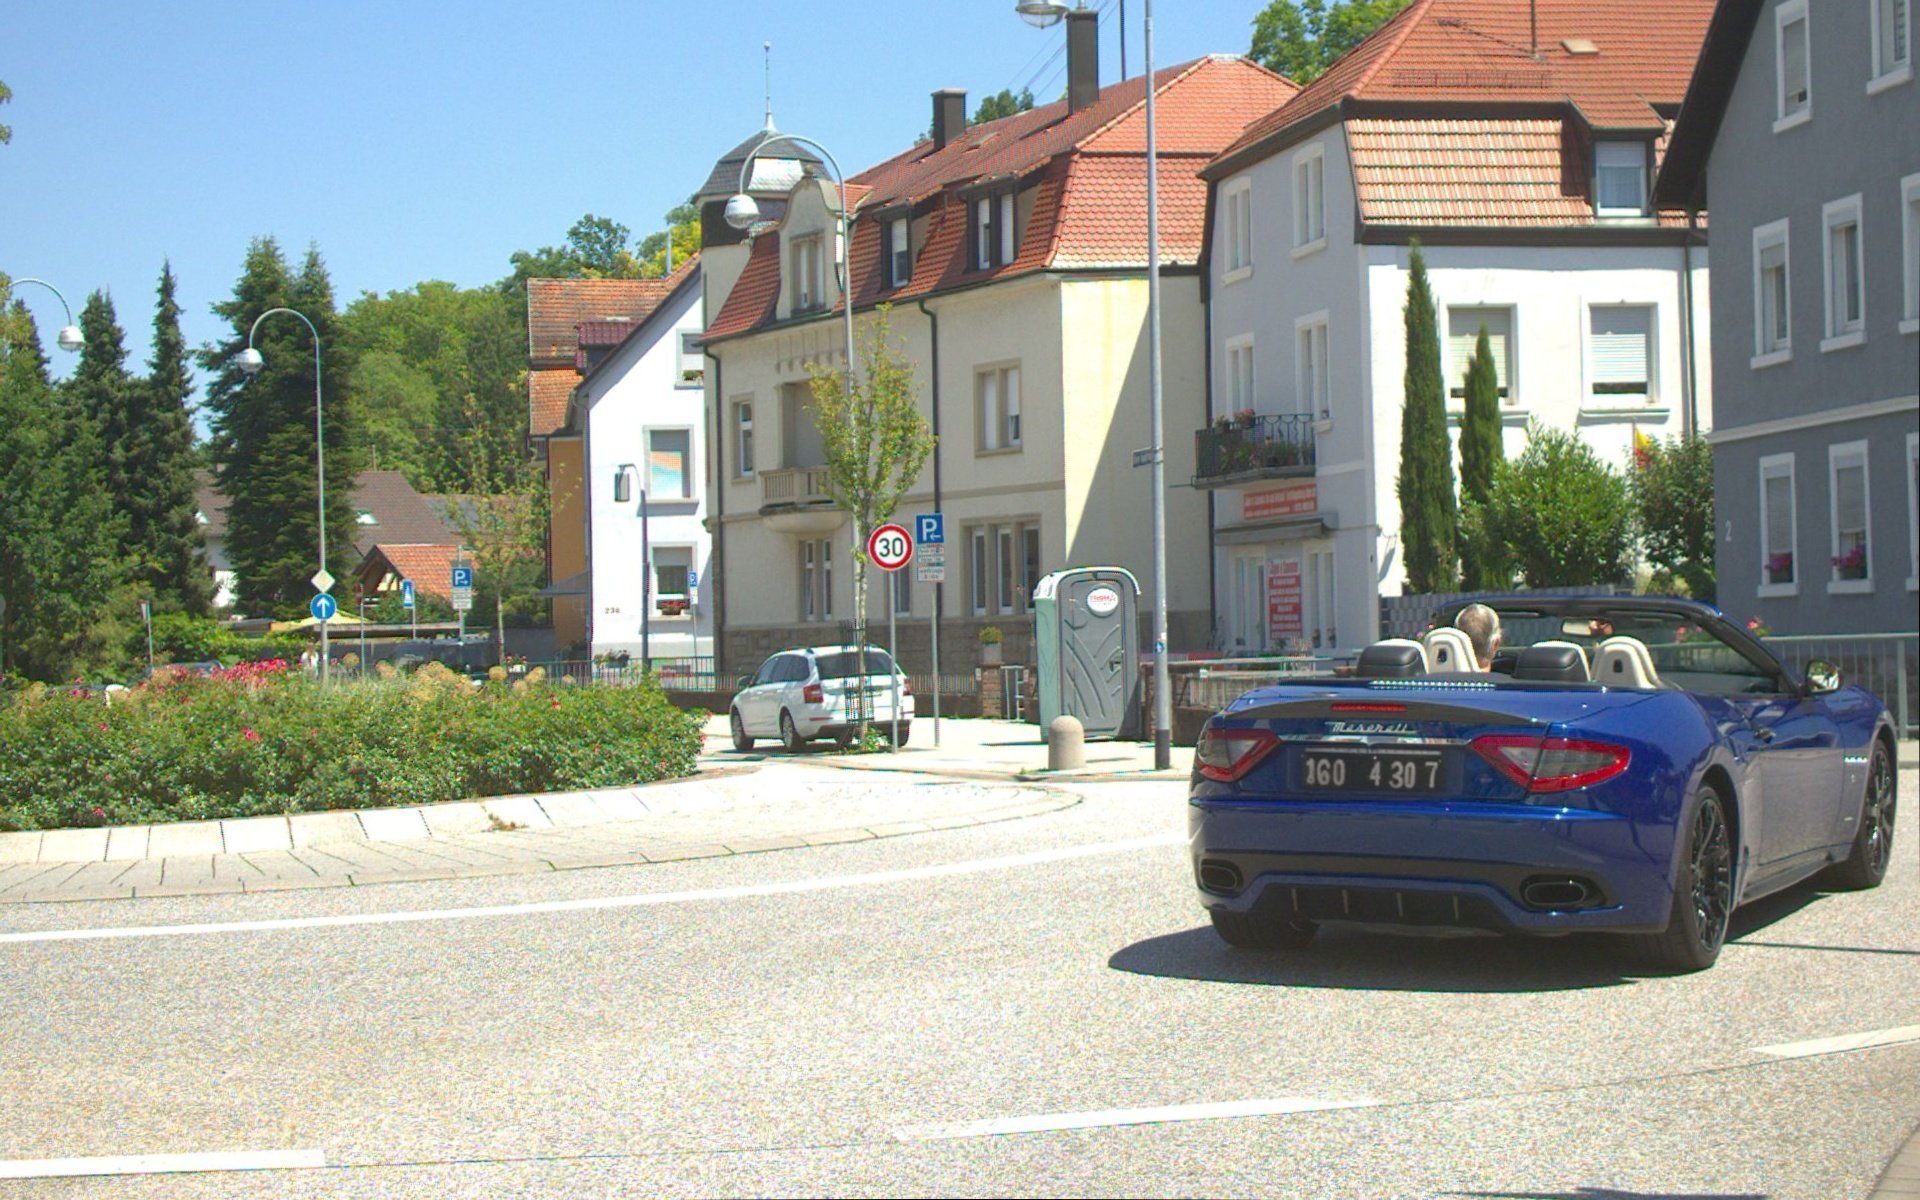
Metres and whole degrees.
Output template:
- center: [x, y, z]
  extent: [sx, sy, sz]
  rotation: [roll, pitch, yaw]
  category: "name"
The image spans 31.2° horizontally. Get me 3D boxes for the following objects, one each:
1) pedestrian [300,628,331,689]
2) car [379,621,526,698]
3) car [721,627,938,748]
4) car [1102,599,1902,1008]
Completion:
- center: [-17.163, 1.554, 91.550]
  extent: [0.611, 1.580, 0.587]
  rotation: [-2, 0, -26]
  category: "pedestrian"
- center: [-11.334, 1.335, 76.600]
  extent: [1.850, 1.583, 4.000]
  rotation: [-2, 0, -30]
  category: "car"
- center: [-1.923, 1.269, 49.344]
  extent: [1.918, 1.607, 4.148]
  rotation: [-2, -1, -19]
  category: "car"
- center: [2.339, 0.689, 13.752]
  extent: [1.913, 1.356, 4.279]
  rotation: [-1, 0, 27]
  category: "car"
